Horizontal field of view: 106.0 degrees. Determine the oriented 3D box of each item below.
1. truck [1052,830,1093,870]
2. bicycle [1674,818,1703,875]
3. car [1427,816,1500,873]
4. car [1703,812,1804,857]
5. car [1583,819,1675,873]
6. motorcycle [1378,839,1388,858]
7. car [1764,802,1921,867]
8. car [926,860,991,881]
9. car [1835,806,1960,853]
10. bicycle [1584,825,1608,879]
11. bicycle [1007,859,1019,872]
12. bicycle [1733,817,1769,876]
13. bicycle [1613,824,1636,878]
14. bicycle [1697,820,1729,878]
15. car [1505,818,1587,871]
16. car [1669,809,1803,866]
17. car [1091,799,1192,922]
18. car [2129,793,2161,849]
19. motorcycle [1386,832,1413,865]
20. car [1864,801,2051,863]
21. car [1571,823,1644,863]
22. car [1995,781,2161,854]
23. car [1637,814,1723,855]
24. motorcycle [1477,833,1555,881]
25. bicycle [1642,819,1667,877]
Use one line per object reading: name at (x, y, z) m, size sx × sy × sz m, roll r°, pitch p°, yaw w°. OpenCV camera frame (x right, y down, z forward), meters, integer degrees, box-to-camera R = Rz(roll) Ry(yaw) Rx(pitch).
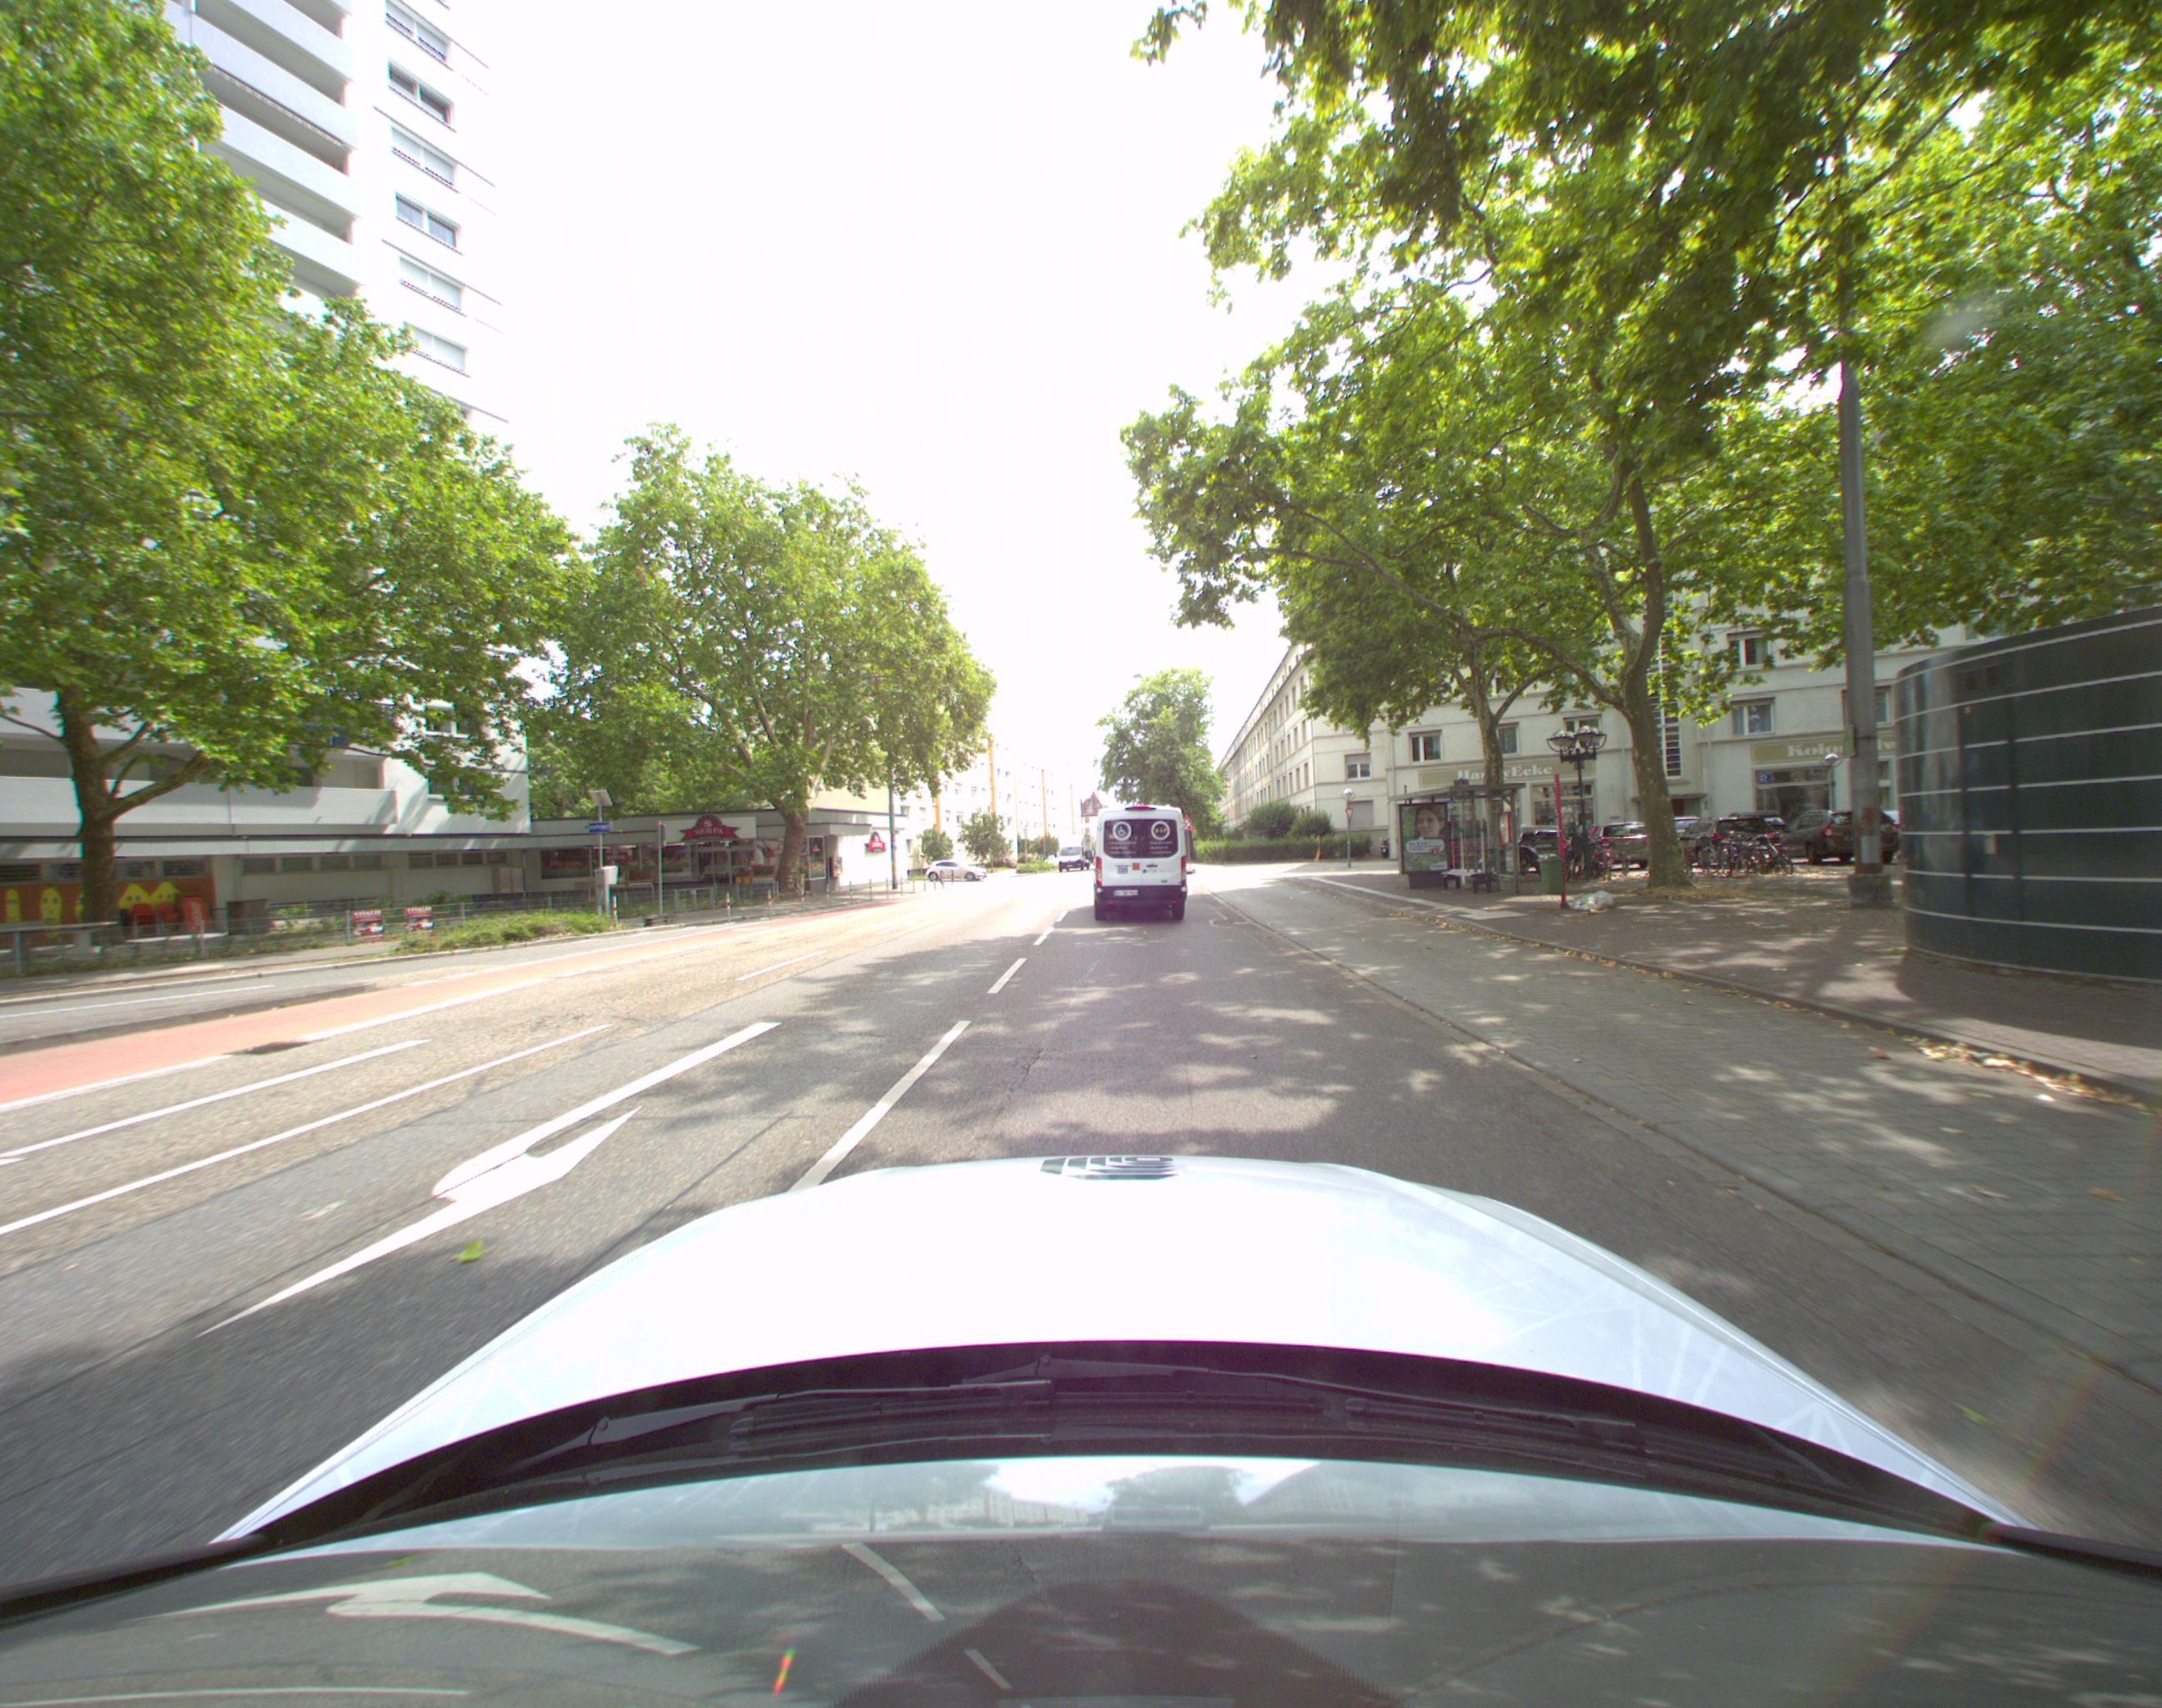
truck at (-0.640, -0.348, 69.781) m, size 2.529 × 3.107 × 7.031 m, roll -5°, pitch 0°, yaw 5°
bicycle at (15.529, -0.222, 20.850) m, size 0.415 × 1.378 × 2.326 m, roll -3°, pitch 1°, yaw 34°
car at (12.809, -0.333, 27.500) m, size 1.915 × 1.706 × 4.354 m, roll -3°, pitch 0°, yaw 22°
car at (26.320, -0.762, 32.041) m, size 1.975 × 1.591 × 4.219 m, roll -3°, pitch 0°, yaw 25°
car at (16.933, -0.277, 25.342) m, size 1.729 × 1.464 × 4.209 m, roll -3°, pitch 0°, yaw 26°
motorcycle at (16.974, -0.302, 45.702) m, size 0.428 × 1.016 × 1.457 m, roll -3°, pitch 1°, yaw 23°
car at (21.854, -0.552, 23.613) m, size 1.976 × 1.599 × 4.022 m, roll -3°, pitch 0°, yaw 22°
car at (-8.593, 1.158, 57.248) m, size 4.148 × 1.450 × 1.853 m, roll 0°, pitch 0°, yaw 7°
car at (31.689, -0.943, 31.784) m, size 1.976 × 1.591 × 4.219 m, roll -3°, pitch 0°, yaw 23°
bicycle at (13.891, -0.085, 21.950) m, size 0.415 × 1.378 × 2.326 m, roll -3°, pitch 0°, yaw 34°
bicycle at (-7.436, 1.236, 88.616) m, size 0.574 × 1.251 × 1.942 m, roll -3°, pitch 1°, yaw 17°
bicycle at (16.578, -0.218, 20.184) m, size 0.415 × 1.378 × 2.326 m, roll -3°, pitch 0°, yaw 34°
bicycle at (14.440, -0.106, 21.638) m, size 0.415 × 1.378 × 2.326 m, roll -3°, pitch 0°, yaw 34°
bicycle at (15.856, -0.153, 20.453) m, size 0.415 × 1.378 × 2.326 m, roll -3°, pitch 0°, yaw 34°
car at (15.397, -0.320, 27.181) m, size 1.811 × 1.552 × 4.022 m, roll -3°, pitch 0°, yaw 22°
car at (19.261, -0.479, 24.162) m, size 1.976 × 1.464 × 4.022 m, roll -3°, pitch 0°, yaw 22°
car at (1.454, 0.138, 19.434) m, size 2.061 × 2.540 × 4.641 m, roll -1°, pitch 0°, yaw 5°
car at (28.967, -0.888, 20.132) m, size 1.976 × 1.464 × 4.022 m, roll -3°, pitch 0°, yaw 22°
motorcycle at (15.028, -0.265, 38.494) m, size 0.826 × 1.461 × 2.315 m, roll -3°, pitch 1°, yaw 14°
car at (24.037, -0.590, 22.560) m, size 1.976 × 1.464 × 4.022 m, roll -3°, pitch 0°, yaw 22°
car at (22.284, -0.492, 34.619) m, size 1.975 × 1.504 × 4.219 m, roll -3°, pitch 0°, yaw 25°
car at (26.666, -0.943, 21.181) m, size 1.976 × 1.695 × 4.585 m, roll -3°, pitch 0°, yaw 22°
car at (24.362, -0.784, 33.281) m, size 1.975 × 1.487 × 4.219 m, roll -3°, pitch 0°, yaw 25°
motorcycle at (11.990, 0.086, 22.459) m, size 1.848 × 1.222 × 0.531 m, roll -3°, pitch 1°, yaw -1°
bicycle at (14.850, -0.181, 21.113) m, size 0.415 × 1.378 × 2.326 m, roll -3°, pitch 1°, yaw 34°
